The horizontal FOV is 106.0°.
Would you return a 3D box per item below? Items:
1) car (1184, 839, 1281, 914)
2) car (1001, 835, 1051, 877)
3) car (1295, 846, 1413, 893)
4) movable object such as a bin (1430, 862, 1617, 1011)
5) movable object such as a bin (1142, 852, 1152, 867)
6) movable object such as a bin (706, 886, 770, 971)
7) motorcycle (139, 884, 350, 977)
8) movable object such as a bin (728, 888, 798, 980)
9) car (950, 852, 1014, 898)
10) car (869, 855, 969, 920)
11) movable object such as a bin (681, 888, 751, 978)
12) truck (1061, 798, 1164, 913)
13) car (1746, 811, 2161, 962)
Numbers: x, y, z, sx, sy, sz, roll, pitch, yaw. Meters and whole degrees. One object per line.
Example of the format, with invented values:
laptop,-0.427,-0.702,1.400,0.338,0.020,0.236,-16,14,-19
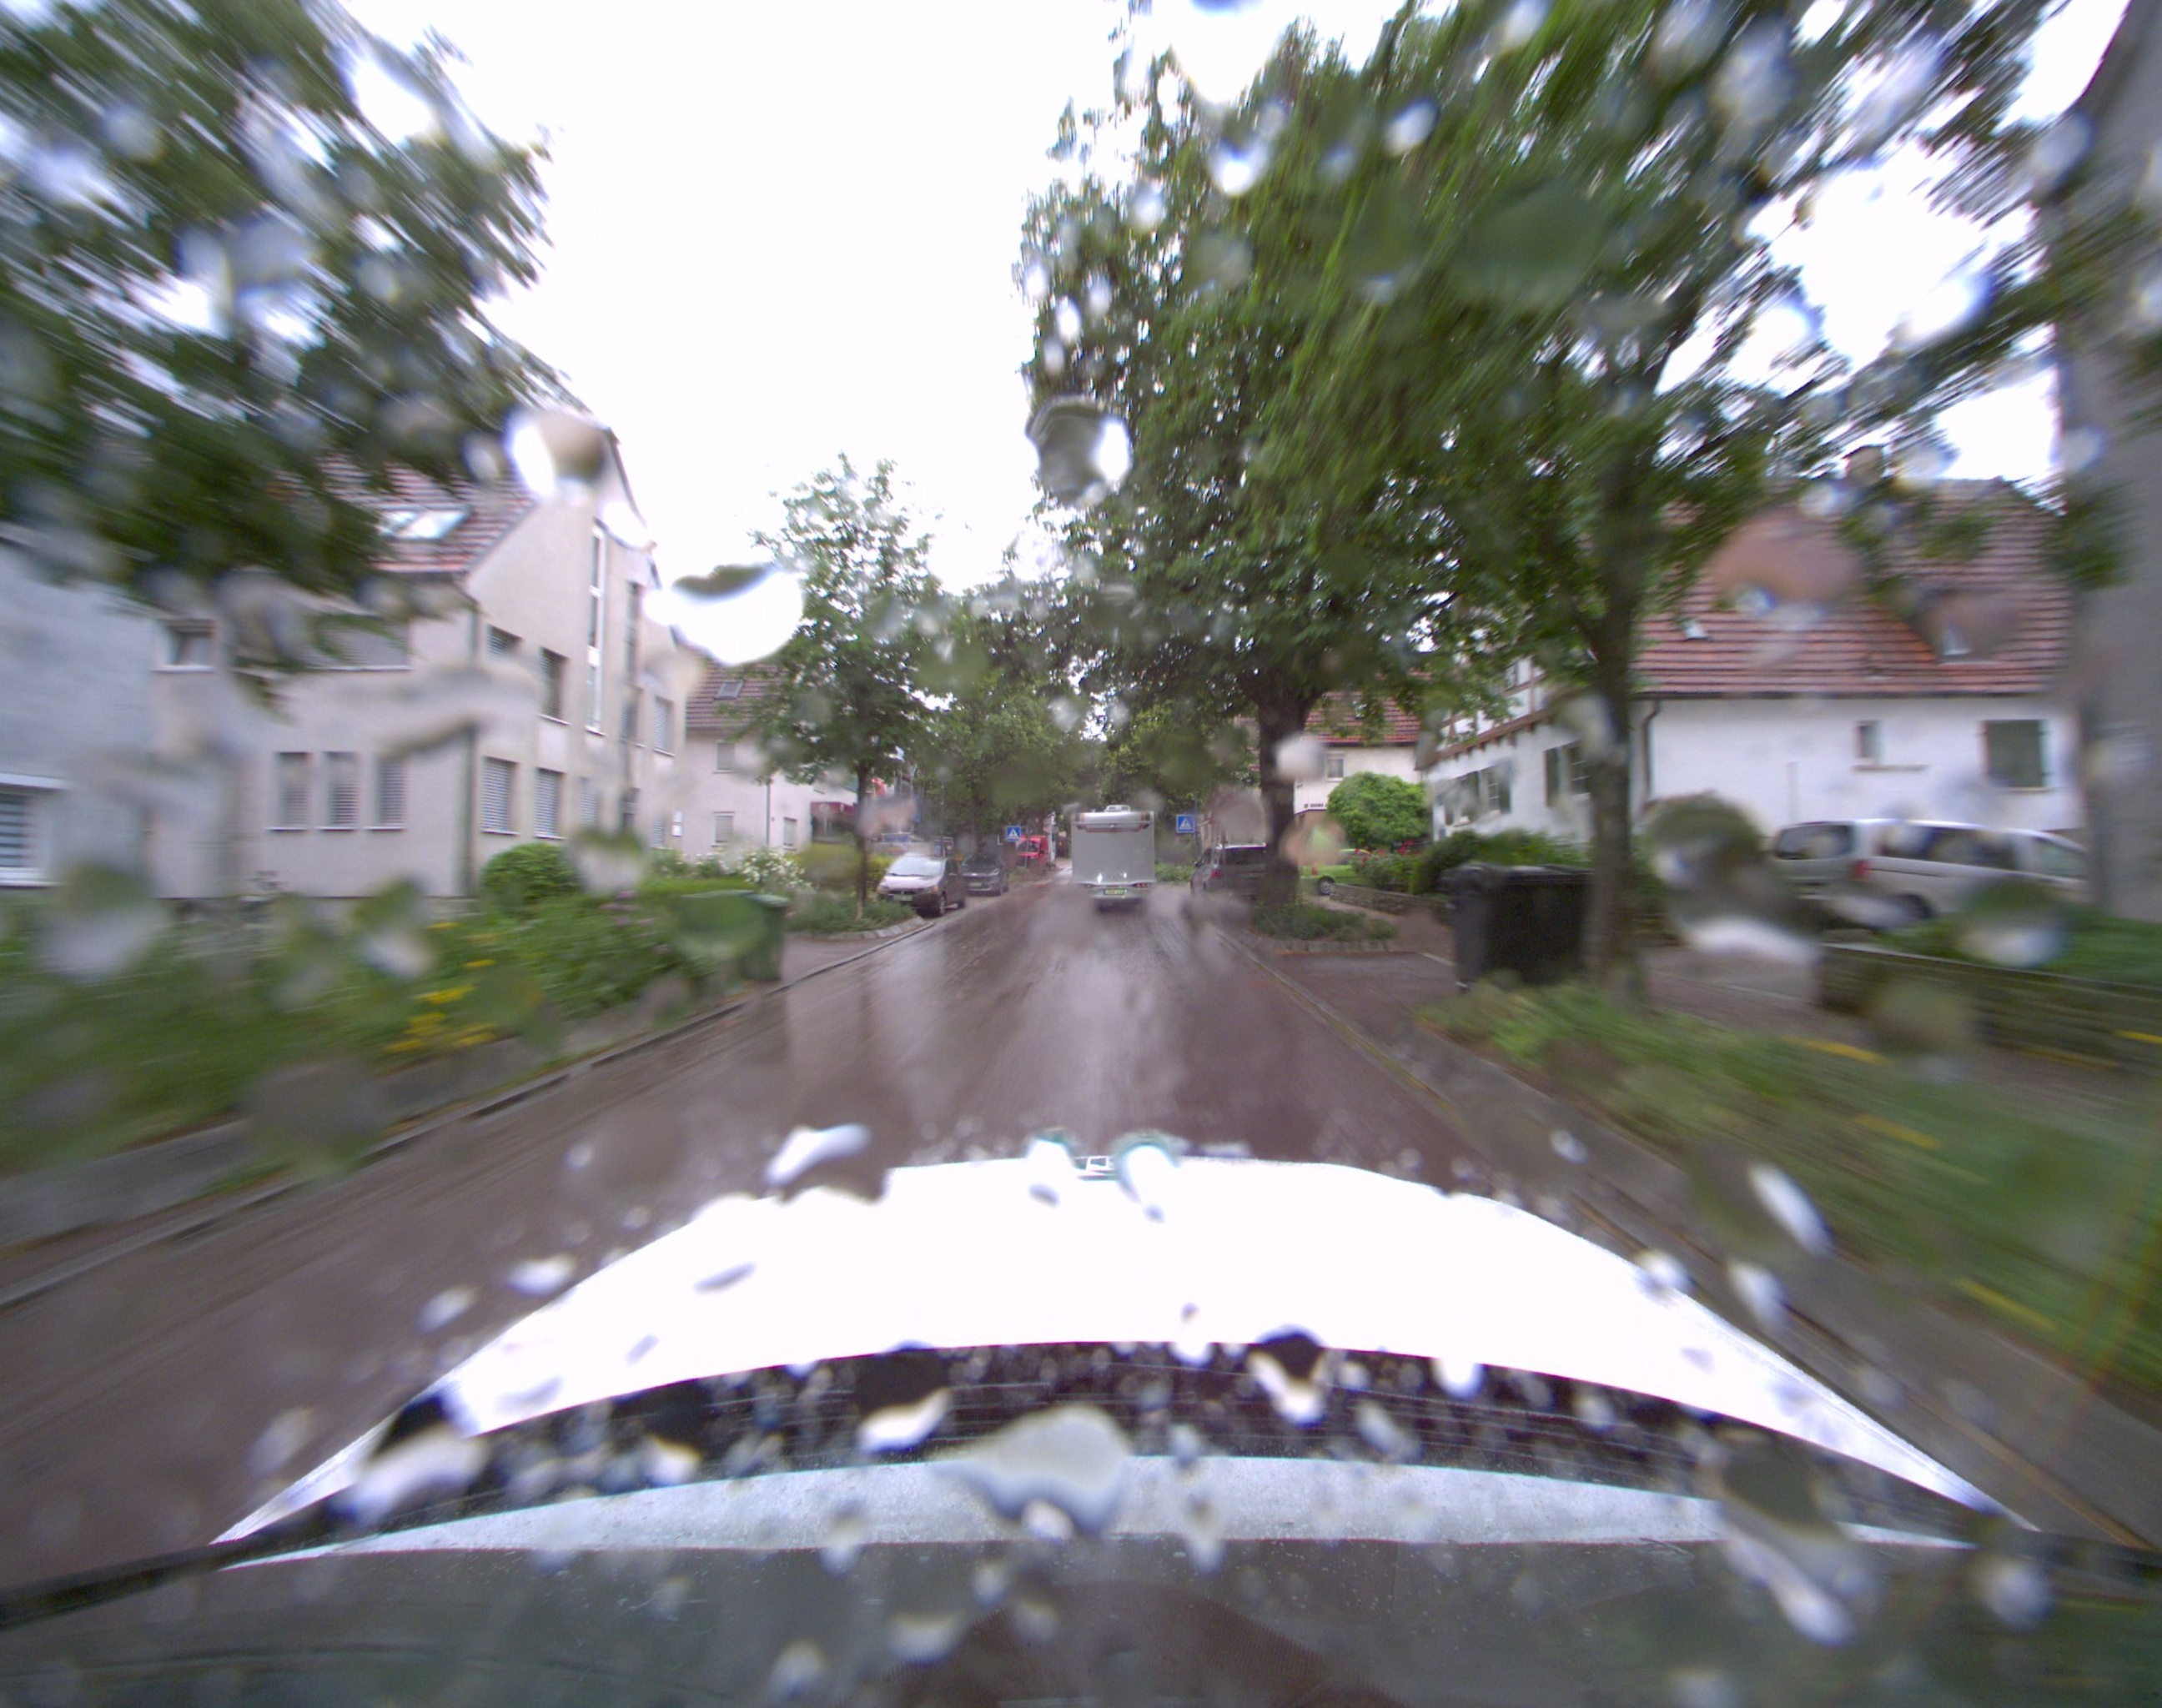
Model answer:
car,3.884,0.543,21.636,1.907,1.792,4.490,0,0,2
car,-3.374,0.062,51.281,2.293,2.483,5.793,0,1,5
car,9.027,0.499,27.099,3.355,1.430,1.630,-2,0,-2
movable object such as a bin,4.211,0.751,7.879,1.219,1.315,1.135,-1,-1,4
movable object such as a bin,5.294,0.454,65.286,0.718,1.212,0.727,0,0,2
movable object such as a bin,-4.724,1.015,11.251,0.608,1.111,0.565,-1,0,4
motorcycle,-11.048,0.987,10.804,1.974,1.162,0.818,0,-1,2
movable object such as a bin,-4.038,1.007,10.370,0.640,1.111,0.537,-1,0,4
car,-3.679,0.743,31.012,1.765,1.553,4.002,2,0,2
car,-4.242,0.816,21.869,1.640,1.533,3.870,1,0,4
movable object such as a bin,-4.728,1.010,10.578,0.608,1.111,0.565,-1,0,4
truck,0.936,0.054,24.320,2.684,2.986,6.240,0,0,2
car,13.386,0.481,12.635,4.446,1.900,2.000,3,-1,1
